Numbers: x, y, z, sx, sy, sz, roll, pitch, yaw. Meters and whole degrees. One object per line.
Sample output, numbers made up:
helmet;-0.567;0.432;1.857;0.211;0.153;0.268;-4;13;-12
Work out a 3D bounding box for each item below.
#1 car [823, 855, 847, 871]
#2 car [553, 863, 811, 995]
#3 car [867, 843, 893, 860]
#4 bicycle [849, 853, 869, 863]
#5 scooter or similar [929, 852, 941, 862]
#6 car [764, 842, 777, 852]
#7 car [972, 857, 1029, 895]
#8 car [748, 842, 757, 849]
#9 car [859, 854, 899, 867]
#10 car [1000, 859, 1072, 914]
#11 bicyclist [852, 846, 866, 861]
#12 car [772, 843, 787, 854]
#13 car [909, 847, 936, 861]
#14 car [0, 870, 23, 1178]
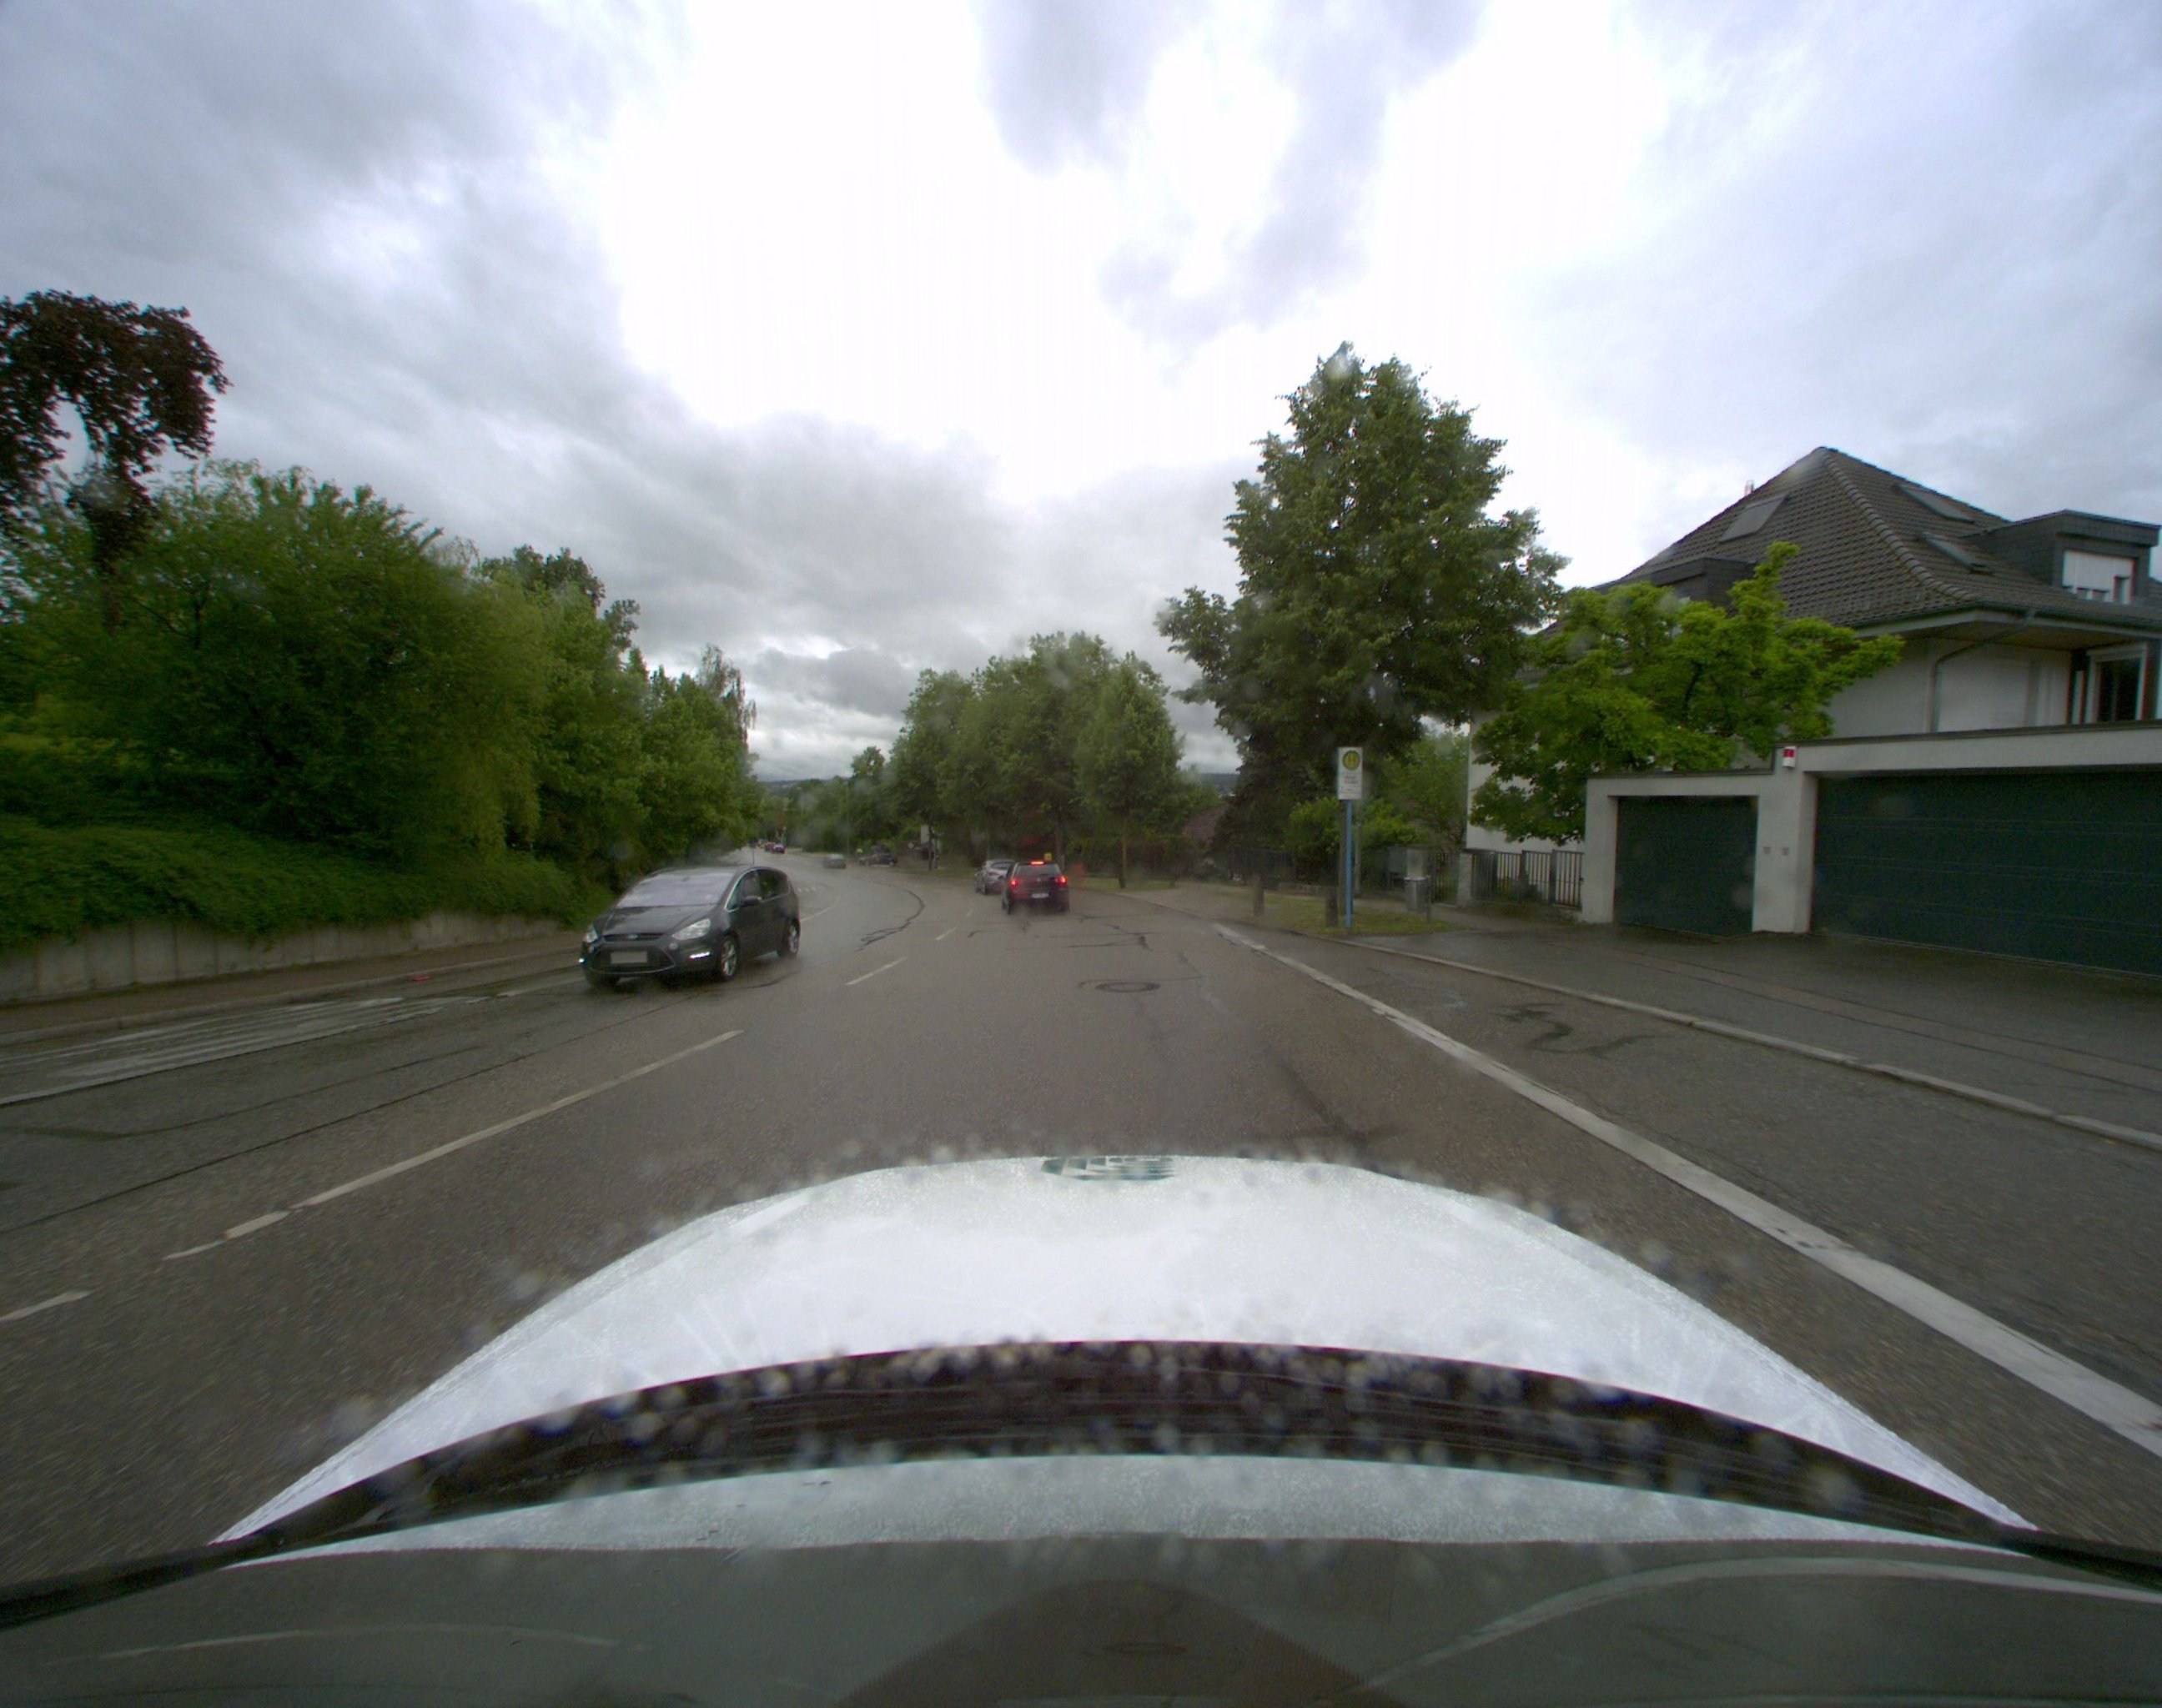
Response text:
car;-25.103;0.926;83.096;1.730;1.464;3.968;3;0;-25
car;-5.714;0.950;12.441;1.806;1.577;4.681;-1;0;-3
car;-25.290;-0.332;102.528;1.940;1.689;4.907;1;4;1
bicycle;-26.348;0.429;96.581;2.019;1.155;0.857;-1;0;10
scooter or similar;-18.094;0.374;100.664;1.345;1.285;0.556;-2;1;-33
car;-51.737;-1.156;135.547;1.730;1.464;3.968;3;0;-25
car;-3.555;0.912;35.446;1.758;1.464;3.979;-1;1;-16
car;-76.470;-2.036;189.740;1.730;1.464;3.968;3;0;-25
car;-22.613;0.707;91.117;4.141;1.383;1.715;-1;0;-21
car;-1.405;0.883;23.978;1.721;1.464;3.988;-1;0;-9
bicyclist;-26.353;-0.087;96.580;1.274;1.755;0.857;-1;0;10
car;-44.822;-0.805;120.915;1.730;1.464;3.968;3;0;-25
car;-19.875;-0.035;102.323;1.740;1.469;4.581;2;4;10
car;-6.166;0.862;1.806;1.713;1.464;4.383;-1;1;5
